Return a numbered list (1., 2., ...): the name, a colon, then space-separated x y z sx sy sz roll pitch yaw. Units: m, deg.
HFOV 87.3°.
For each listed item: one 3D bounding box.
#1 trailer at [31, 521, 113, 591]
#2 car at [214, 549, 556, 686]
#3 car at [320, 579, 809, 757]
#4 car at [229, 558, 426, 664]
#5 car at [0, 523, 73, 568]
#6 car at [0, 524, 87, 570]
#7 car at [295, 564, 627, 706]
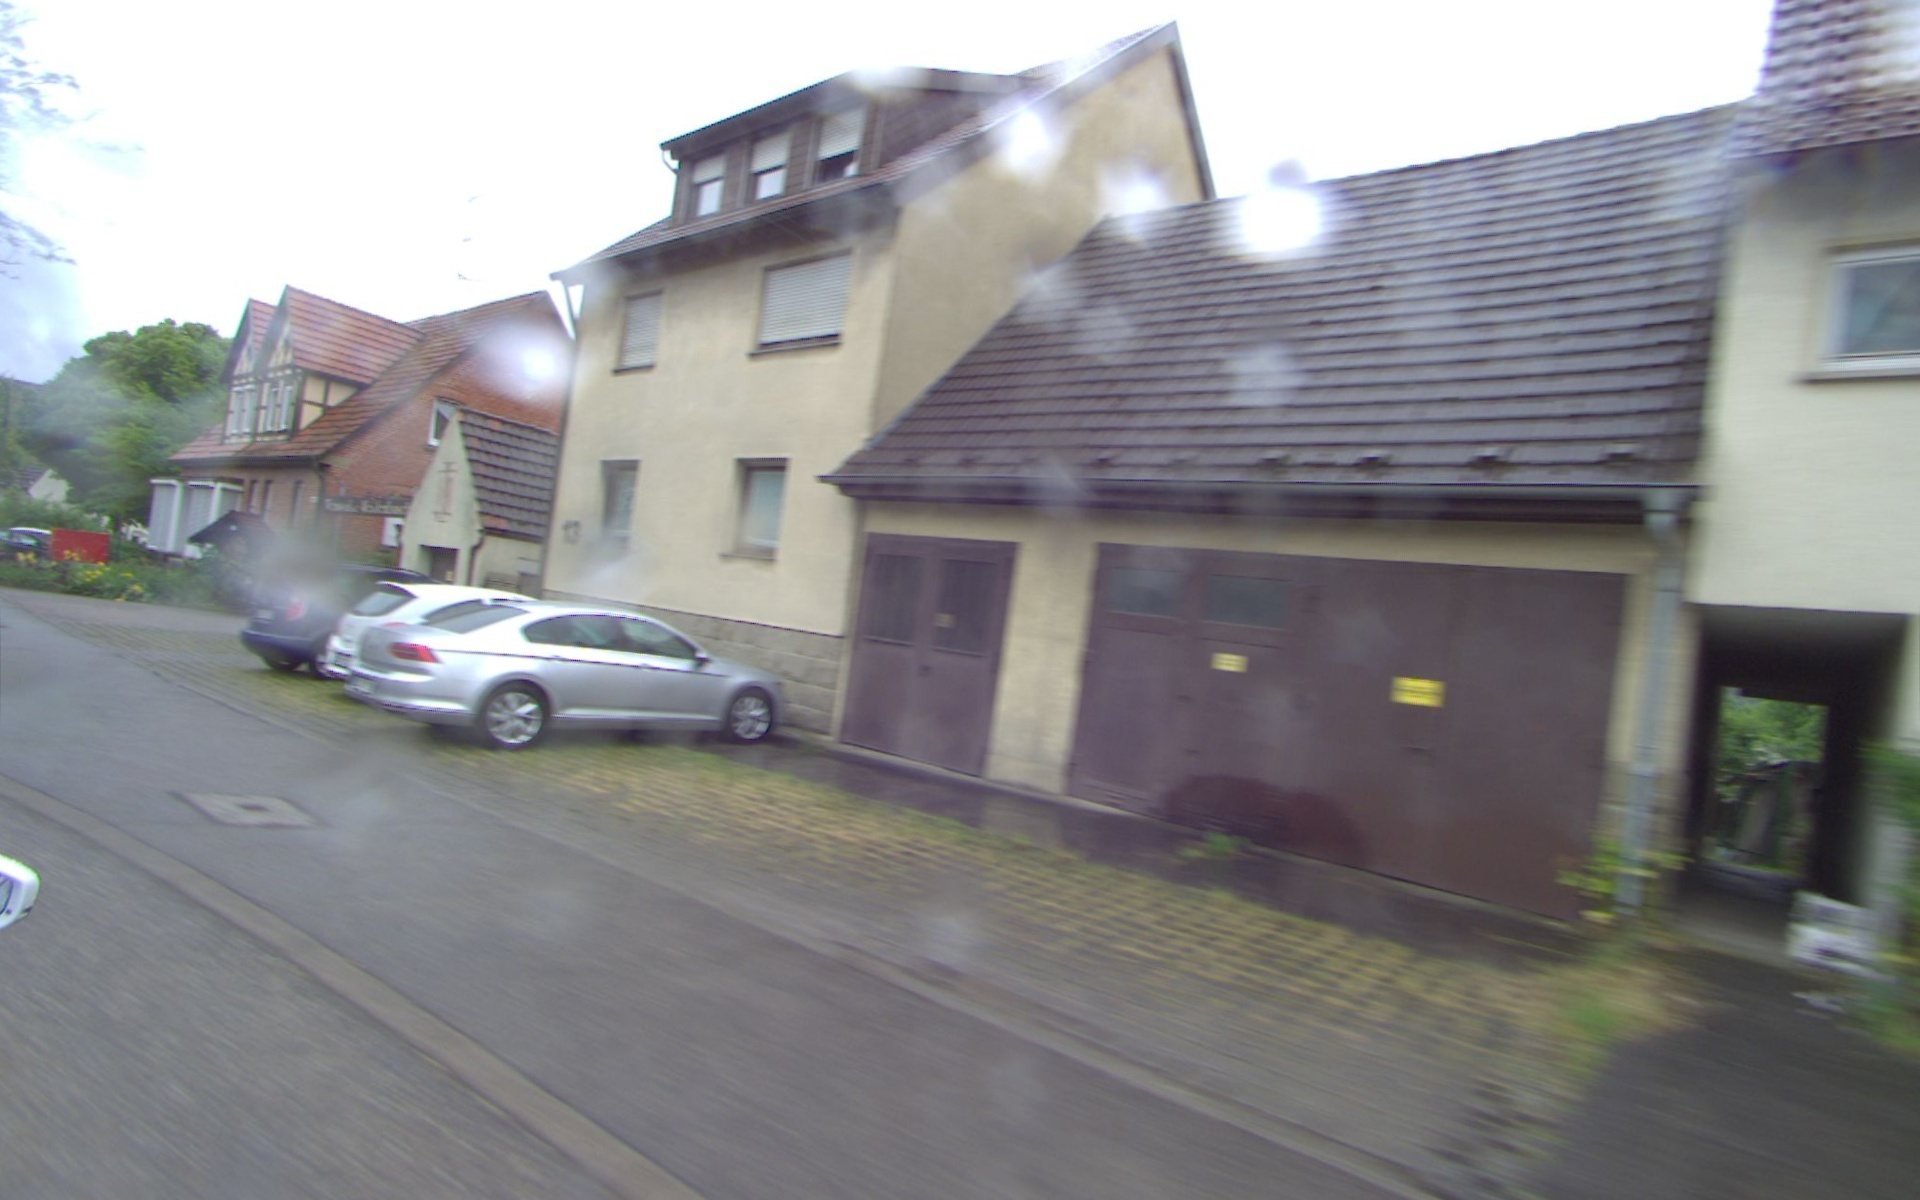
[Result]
1. trailer: -25.256 -1.268 28.600 1.406 1.666 2.691 12 -5 -44
2. car: -8.411 0.340 15.063 1.721 1.601 3.991 5 -3 34
3. car: -4.041 0.752 10.994 1.795 1.432 4.606 6 0 40
4. car: -11.975 0.166 18.947 4.206 1.455 1.901 6 -3 41
5. car: -42.744 -2.597 45.091 3.962 1.567 1.986 12 -5 -30
6. car: -44.209 -2.627 47.182 4.440 1.567 1.986 12 -5 -30
7. car: -6.362 0.481 13.075 1.695 1.548 3.415 4 -1 40
